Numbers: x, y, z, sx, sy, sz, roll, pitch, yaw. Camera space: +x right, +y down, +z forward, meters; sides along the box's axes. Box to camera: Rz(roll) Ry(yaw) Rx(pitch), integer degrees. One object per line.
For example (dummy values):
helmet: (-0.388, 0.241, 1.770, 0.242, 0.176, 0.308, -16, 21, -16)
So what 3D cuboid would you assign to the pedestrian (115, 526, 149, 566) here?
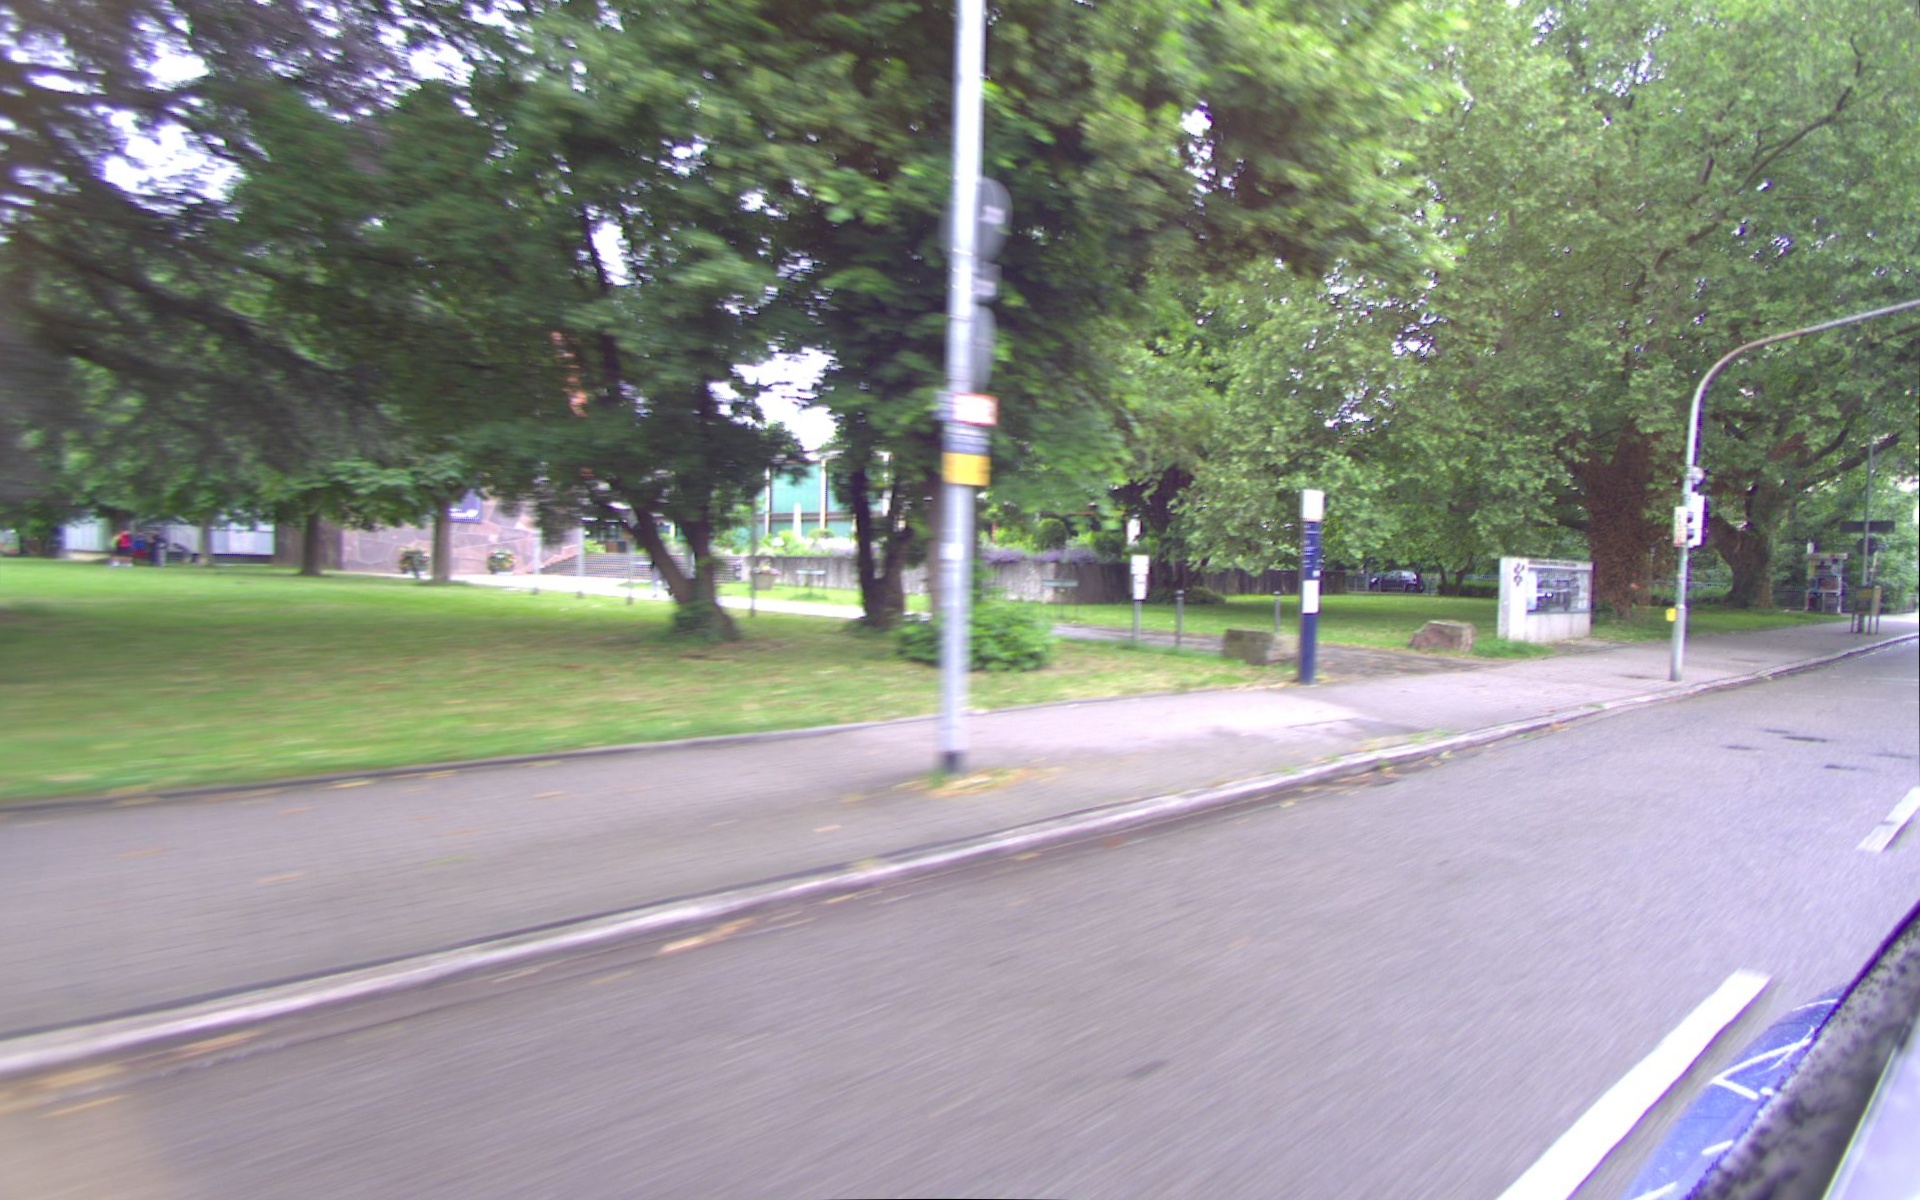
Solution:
pedestrian: (-37.490, -2.436, 45.830, 0.829, 1.785, 0.854, -1, 0, 16)

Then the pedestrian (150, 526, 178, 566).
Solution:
pedestrian: (-36.516, -2.470, 46.408, 0.767, 1.785, 0.830, -1, 0, 37)

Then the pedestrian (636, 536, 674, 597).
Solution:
pedestrian: (-9.062, -0.984, 30.100, 0.838, 1.785, 0.760, -1, 0, 44)

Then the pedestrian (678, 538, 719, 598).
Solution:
pedestrian: (-7.910, -0.957, 30.609, 0.838, 1.785, 0.865, -1, 0, 44)

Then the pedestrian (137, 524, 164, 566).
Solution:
pedestrian: (-36.155, -2.450, 45.211, 0.838, 1.785, 0.845, -1, 0, 44)

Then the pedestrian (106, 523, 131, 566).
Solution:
pedestrian: (-36.733, -2.412, 44.188, 0.838, 1.785, 0.760, -1, 0, 44)
